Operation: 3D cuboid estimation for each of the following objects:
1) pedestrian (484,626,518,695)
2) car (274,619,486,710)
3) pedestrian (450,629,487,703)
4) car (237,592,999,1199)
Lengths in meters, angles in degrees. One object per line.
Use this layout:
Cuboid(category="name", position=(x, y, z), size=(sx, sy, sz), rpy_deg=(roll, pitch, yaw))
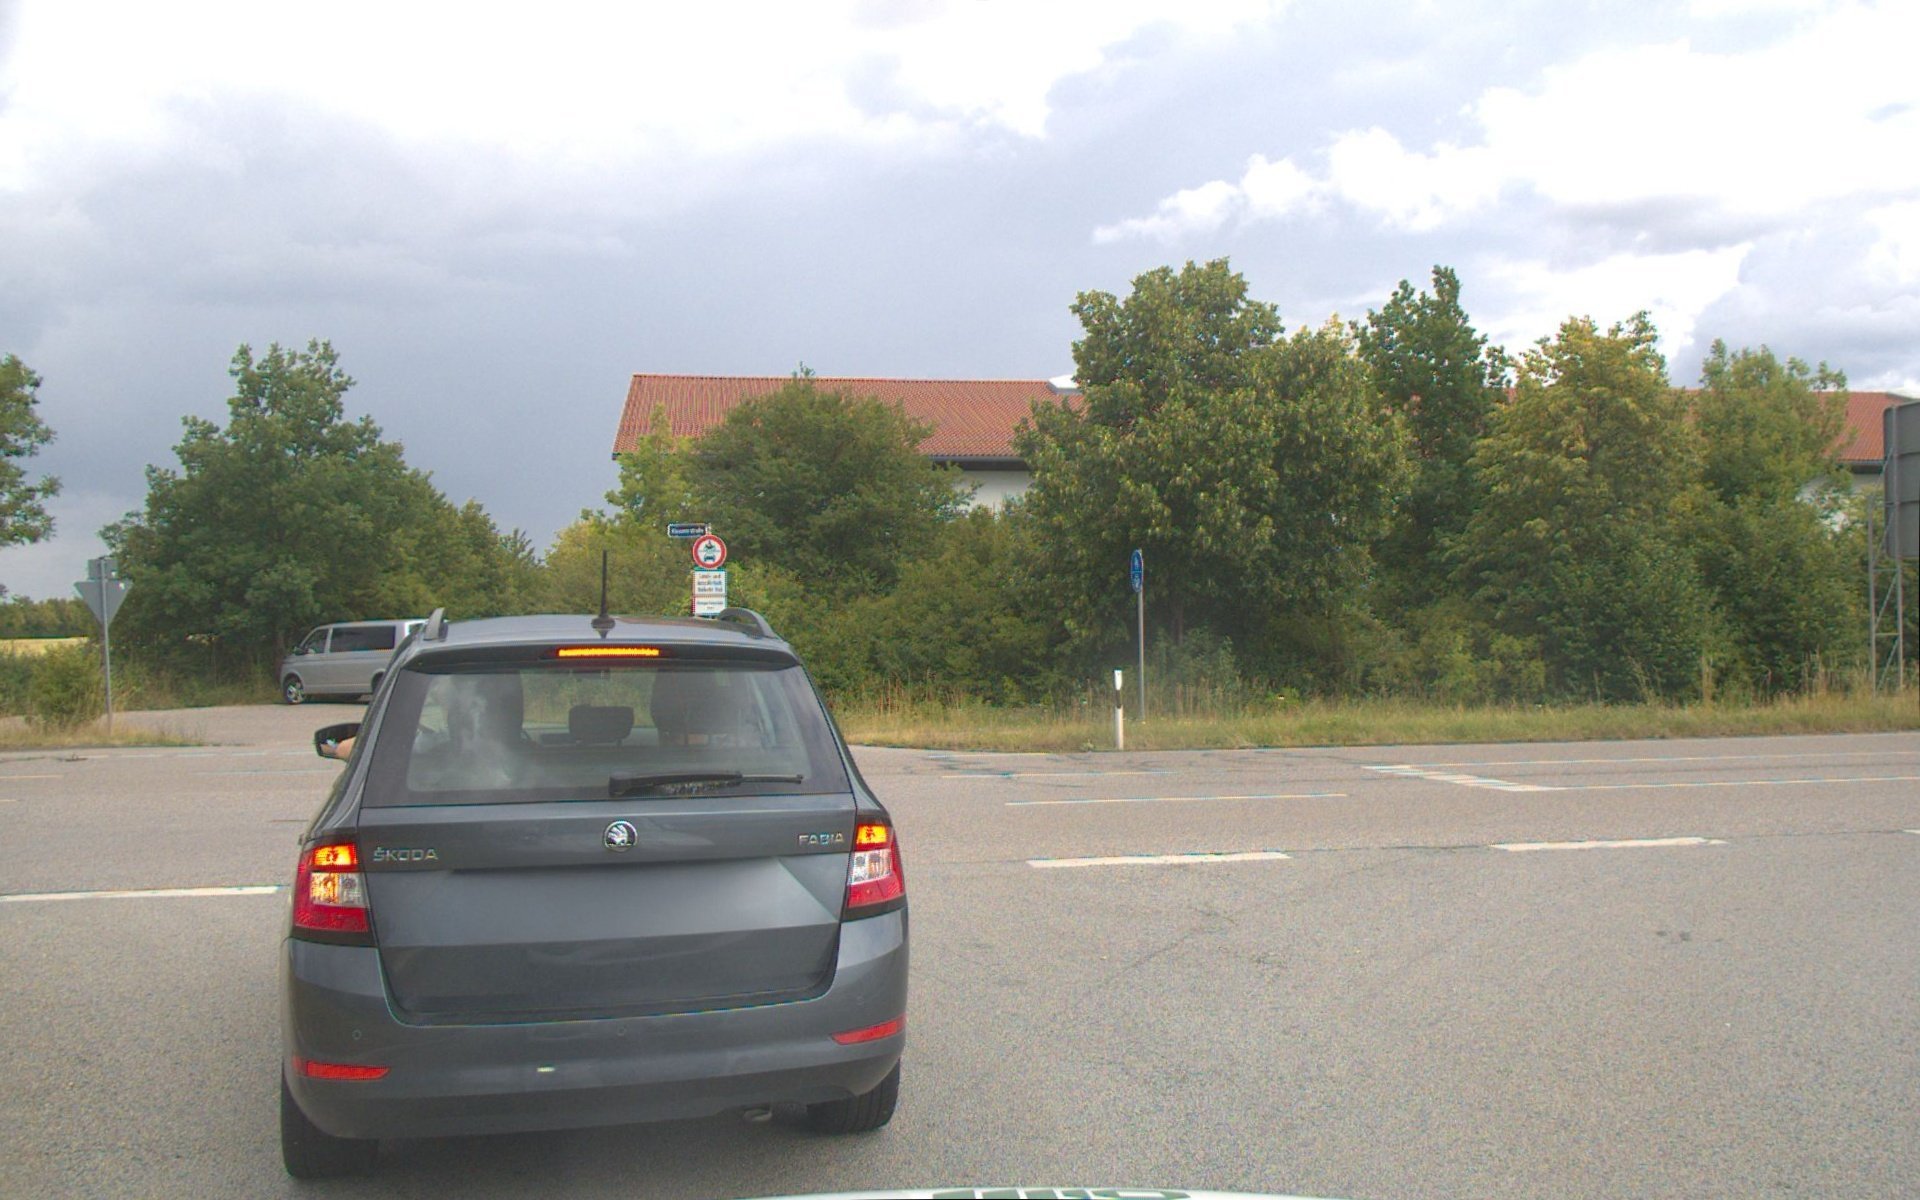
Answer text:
Cuboid(category="pedestrian", position=(-11.633, 1.520, 41.890), size=(0.571, 1.712, 0.566), rpy_deg=(-1, 0, 17))
Cuboid(category="car", position=(-14.229, 1.546, 40.512), size=(4.807, 2.049, 2.338), rpy_deg=(-1, 1, 31))
Cuboid(category="pedestrian", position=(-11.933, 1.598, 40.165), size=(0.518, 1.756, 0.640), rpy_deg=(-1, 0, 29))
Cuboid(category="car", position=(-1.211, 0.755, 5.419), size=(1.649, 1.488, 3.690), rpy_deg=(0, -1, -16))
